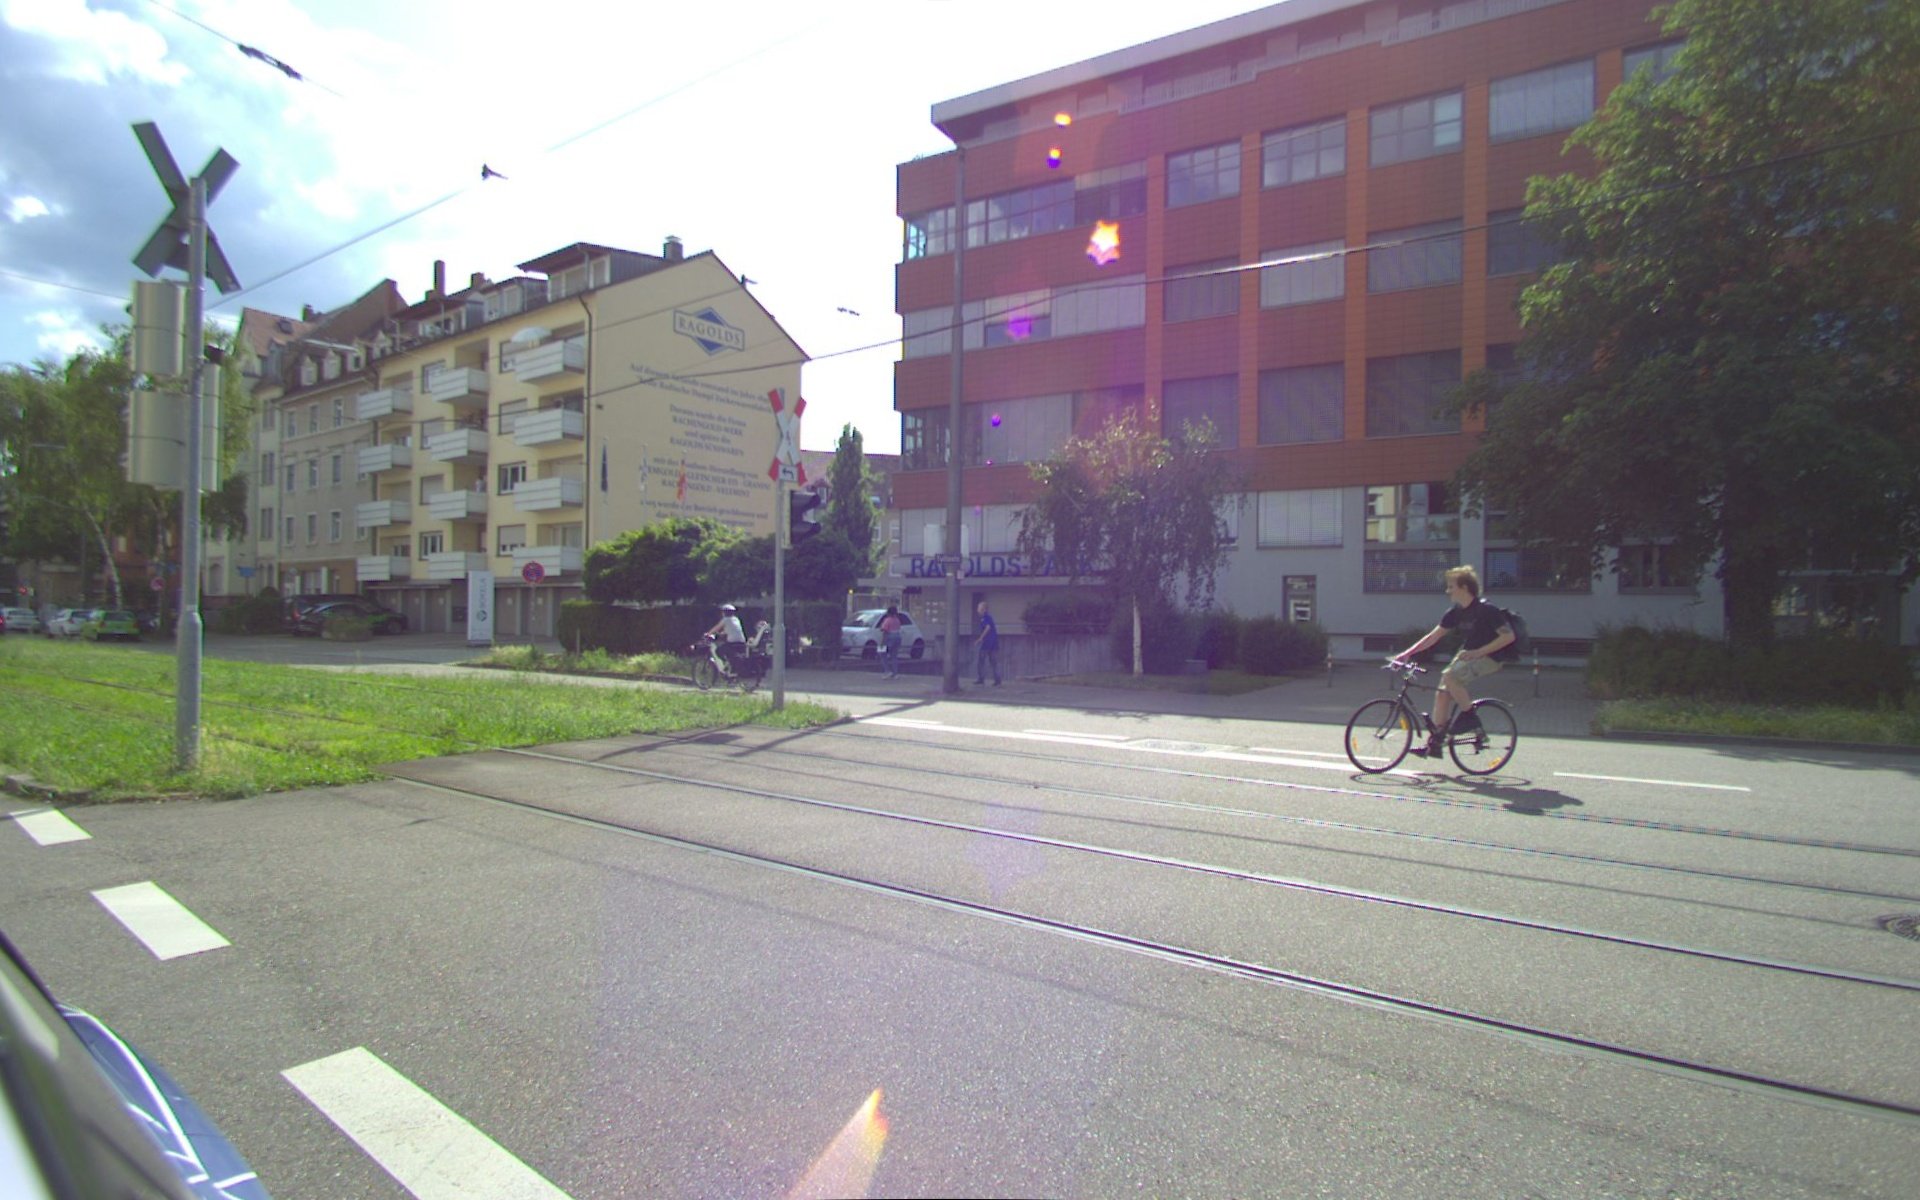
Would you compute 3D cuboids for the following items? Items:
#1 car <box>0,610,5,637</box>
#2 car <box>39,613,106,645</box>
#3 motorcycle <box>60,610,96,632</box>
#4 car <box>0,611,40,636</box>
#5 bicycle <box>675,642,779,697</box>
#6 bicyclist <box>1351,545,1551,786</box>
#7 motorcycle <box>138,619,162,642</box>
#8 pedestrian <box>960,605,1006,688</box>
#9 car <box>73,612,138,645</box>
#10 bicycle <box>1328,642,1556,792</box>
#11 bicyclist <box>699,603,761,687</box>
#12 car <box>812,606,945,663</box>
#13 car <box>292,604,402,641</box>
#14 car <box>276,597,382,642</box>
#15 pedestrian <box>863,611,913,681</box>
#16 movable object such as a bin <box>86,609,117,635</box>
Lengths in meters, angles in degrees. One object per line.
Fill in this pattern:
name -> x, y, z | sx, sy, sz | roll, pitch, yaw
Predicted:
car -> -50.026, 1.170, 51.436 | 3.687, 1.397, 1.564 | 0, -2, 38
car -> -43.720, 1.431, 49.822 | 4.219, 1.489, 1.629 | 0, -3, 38
motorcycle -> -50.632, 1.217, 58.059 | 2.286, 1.252, 0.894 | 0, -1, 31
car -> -54.268, 1.344, 57.953 | 3.990, 1.366, 1.738 | 0, -2, 39
bicycle -> -4.569, 1.336, 19.783 | 2.173, 0.978, 0.675 | 0, -2, 35
bicyclist -> 4.440, 0.560, 9.274 | 1.567, 2.029, 0.943 | 0, -2, 24
motorcycle -> -39.751, 1.481, 49.690 | 1.629, 1.050, 0.495 | 1, 3, 37
pedestrian -> 0.477, 0.955, 20.891 | 0.746, 1.669, 0.551 | 0, -1, 39
car -> -39.585, 1.309, 46.852 | 3.609, 1.443, 1.579 | 0, -2, 38
bicycle -> 4.374, 1.010, 9.309 | 1.777, 1.187, 1.148 | 1, -2, 24
bicyclist -> -4.481, 0.870, 19.708 | 0.861, 1.594, 0.778 | 0, -2, 34
car -> -2.398, 1.008, 30.642 | 1.995, 1.608, 3.954 | 0, -1, 34
car -> -28.422, 1.012, 47.023 | 1.969, 1.614, 3.950 | 0, 0, 37
car -> -30.454, 0.906, 48.891 | 1.935, 2.029, 3.947 | 0, 0, 40
pedestrian -> -1.670, 1.056, 23.454 | 0.888, 1.586, 0.738 | -1, -2, 39
movable object such as a bin -> -48.115, 1.225, 56.713 | 1.519, 1.377, 0.942 | -1, 3, 36
